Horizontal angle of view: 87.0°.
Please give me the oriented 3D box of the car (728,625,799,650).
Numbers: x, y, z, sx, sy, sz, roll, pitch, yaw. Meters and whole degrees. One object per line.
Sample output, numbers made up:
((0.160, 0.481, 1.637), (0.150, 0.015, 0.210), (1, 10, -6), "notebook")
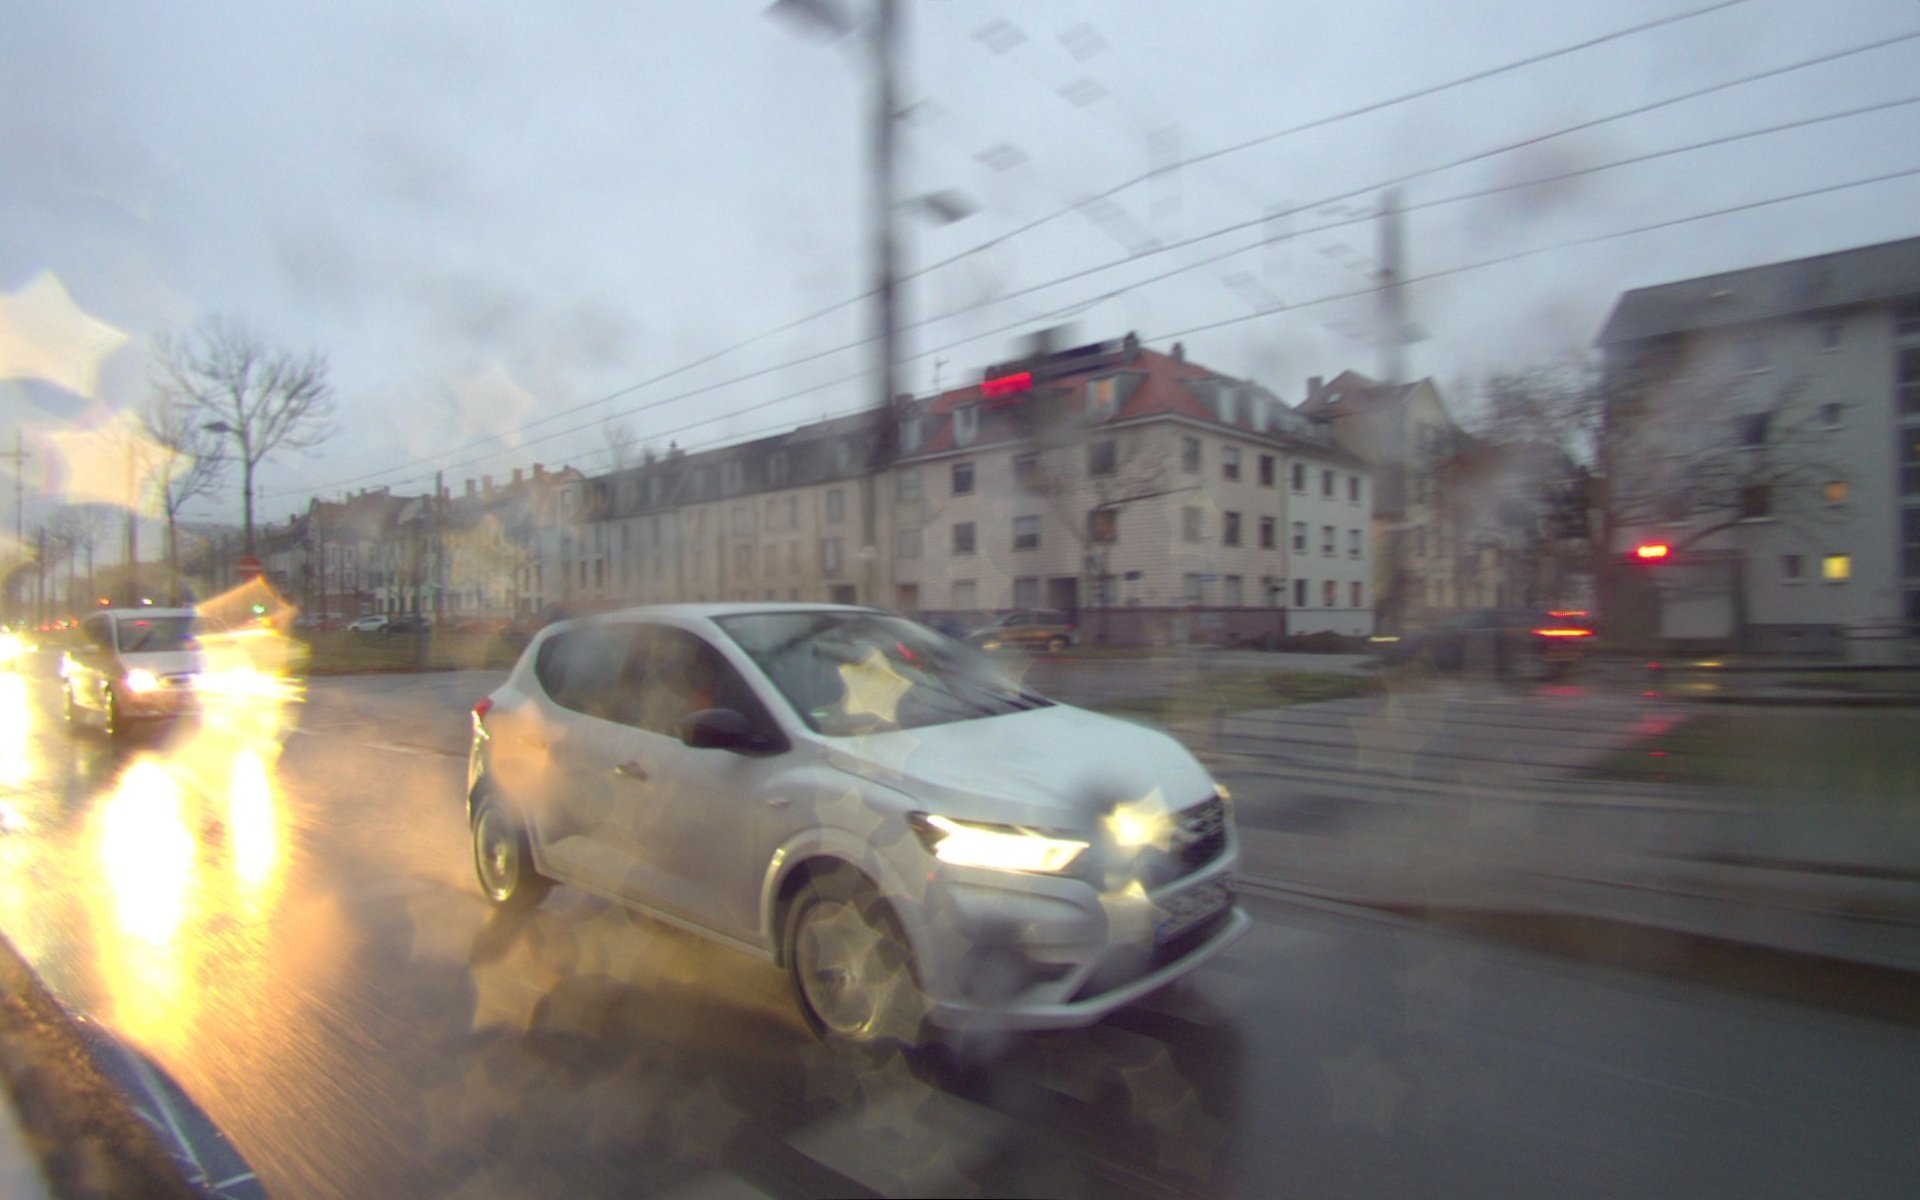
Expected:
((-9.378, 1.792, 48.251), (3.260, 1.140, 1.316), (0, -2, -12), "car")

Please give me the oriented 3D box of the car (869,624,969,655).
((-1.715, 1.614, 41.737), (3.935, 1.140, 1.365), (-1, 1, -11), "car")

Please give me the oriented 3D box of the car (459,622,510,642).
((-34.657, 2.333, 73.882), (3.151, 1.326, 1.556), (-1, 1, -16), "car")

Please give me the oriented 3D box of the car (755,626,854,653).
((-7.078, 1.790, 46.005), (4.333, 1.140, 1.251), (0, 0, -13), "car")

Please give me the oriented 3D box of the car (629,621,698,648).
((-16.162, 1.882, 55.237), (3.548, 1.395, 1.317), (-1, -2, -15), "car")

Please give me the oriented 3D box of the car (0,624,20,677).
((-29.293, 1.523, 29.871), (4.091, 1.512, 1.949), (-2, 0, 43), "car")

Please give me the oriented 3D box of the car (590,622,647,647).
((-20.183, 2.042, 59.904), (3.057, 1.395, 1.316), (-1, -2, -12), "car")

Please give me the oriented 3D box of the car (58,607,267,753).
((-11.320, 0.971, 14.255), (1.992, 1.689, 4.004), (-2, 1, -43), "car")

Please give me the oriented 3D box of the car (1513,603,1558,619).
((52.644, 1.028, 92.644), (3.411, 1.448, 1.411), (-1, 1, 39), "car")

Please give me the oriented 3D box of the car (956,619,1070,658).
((1.944, 1.402, 37.341), (3.933, 1.265, 1.448), (-1, 1, -13), "car")

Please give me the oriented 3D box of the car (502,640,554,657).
((-29.414, 3.288, 68.927), (3.057, 1.014, 1.189), (-1, -1, -12), "car")

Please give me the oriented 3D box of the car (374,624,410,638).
((-51.839, 2.826, 92.371), (2.590, 1.114, 1.256), (-2, 1, -44), "car")

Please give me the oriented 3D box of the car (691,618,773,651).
((-11.362, 1.728, 50.624), (3.947, 1.516, 1.316), (-1, 0, -11), "car")

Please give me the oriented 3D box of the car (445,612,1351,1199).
((-0.581, 0.816, 4.509), (3.998, 1.477, 1.690), (-1, 1, 41), "car")

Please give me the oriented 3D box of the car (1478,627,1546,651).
((35.356, 2.508, 64.924), (3.517, 1.448, 1.550), (-1, 0, 16), "car")

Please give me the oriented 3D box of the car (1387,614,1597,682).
((12.097, 1.040, 23.181), (4.000, 1.378, 1.499), (-1, 1, 43), "car")

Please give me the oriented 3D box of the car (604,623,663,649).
((-18.594, 2.038, 57.690), (3.153, 1.395, 1.317), (-1, -2, -15), "car")

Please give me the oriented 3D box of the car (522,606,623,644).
((-24.740, 1.589, 64.756), (5.811, 2.271, 1.826), (-1, 0, -13), "car")

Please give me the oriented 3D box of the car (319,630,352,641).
((-62.164, 3.549, 100.815), (2.528, 0.994, 1.259), (-1, 1, -17), "car")
